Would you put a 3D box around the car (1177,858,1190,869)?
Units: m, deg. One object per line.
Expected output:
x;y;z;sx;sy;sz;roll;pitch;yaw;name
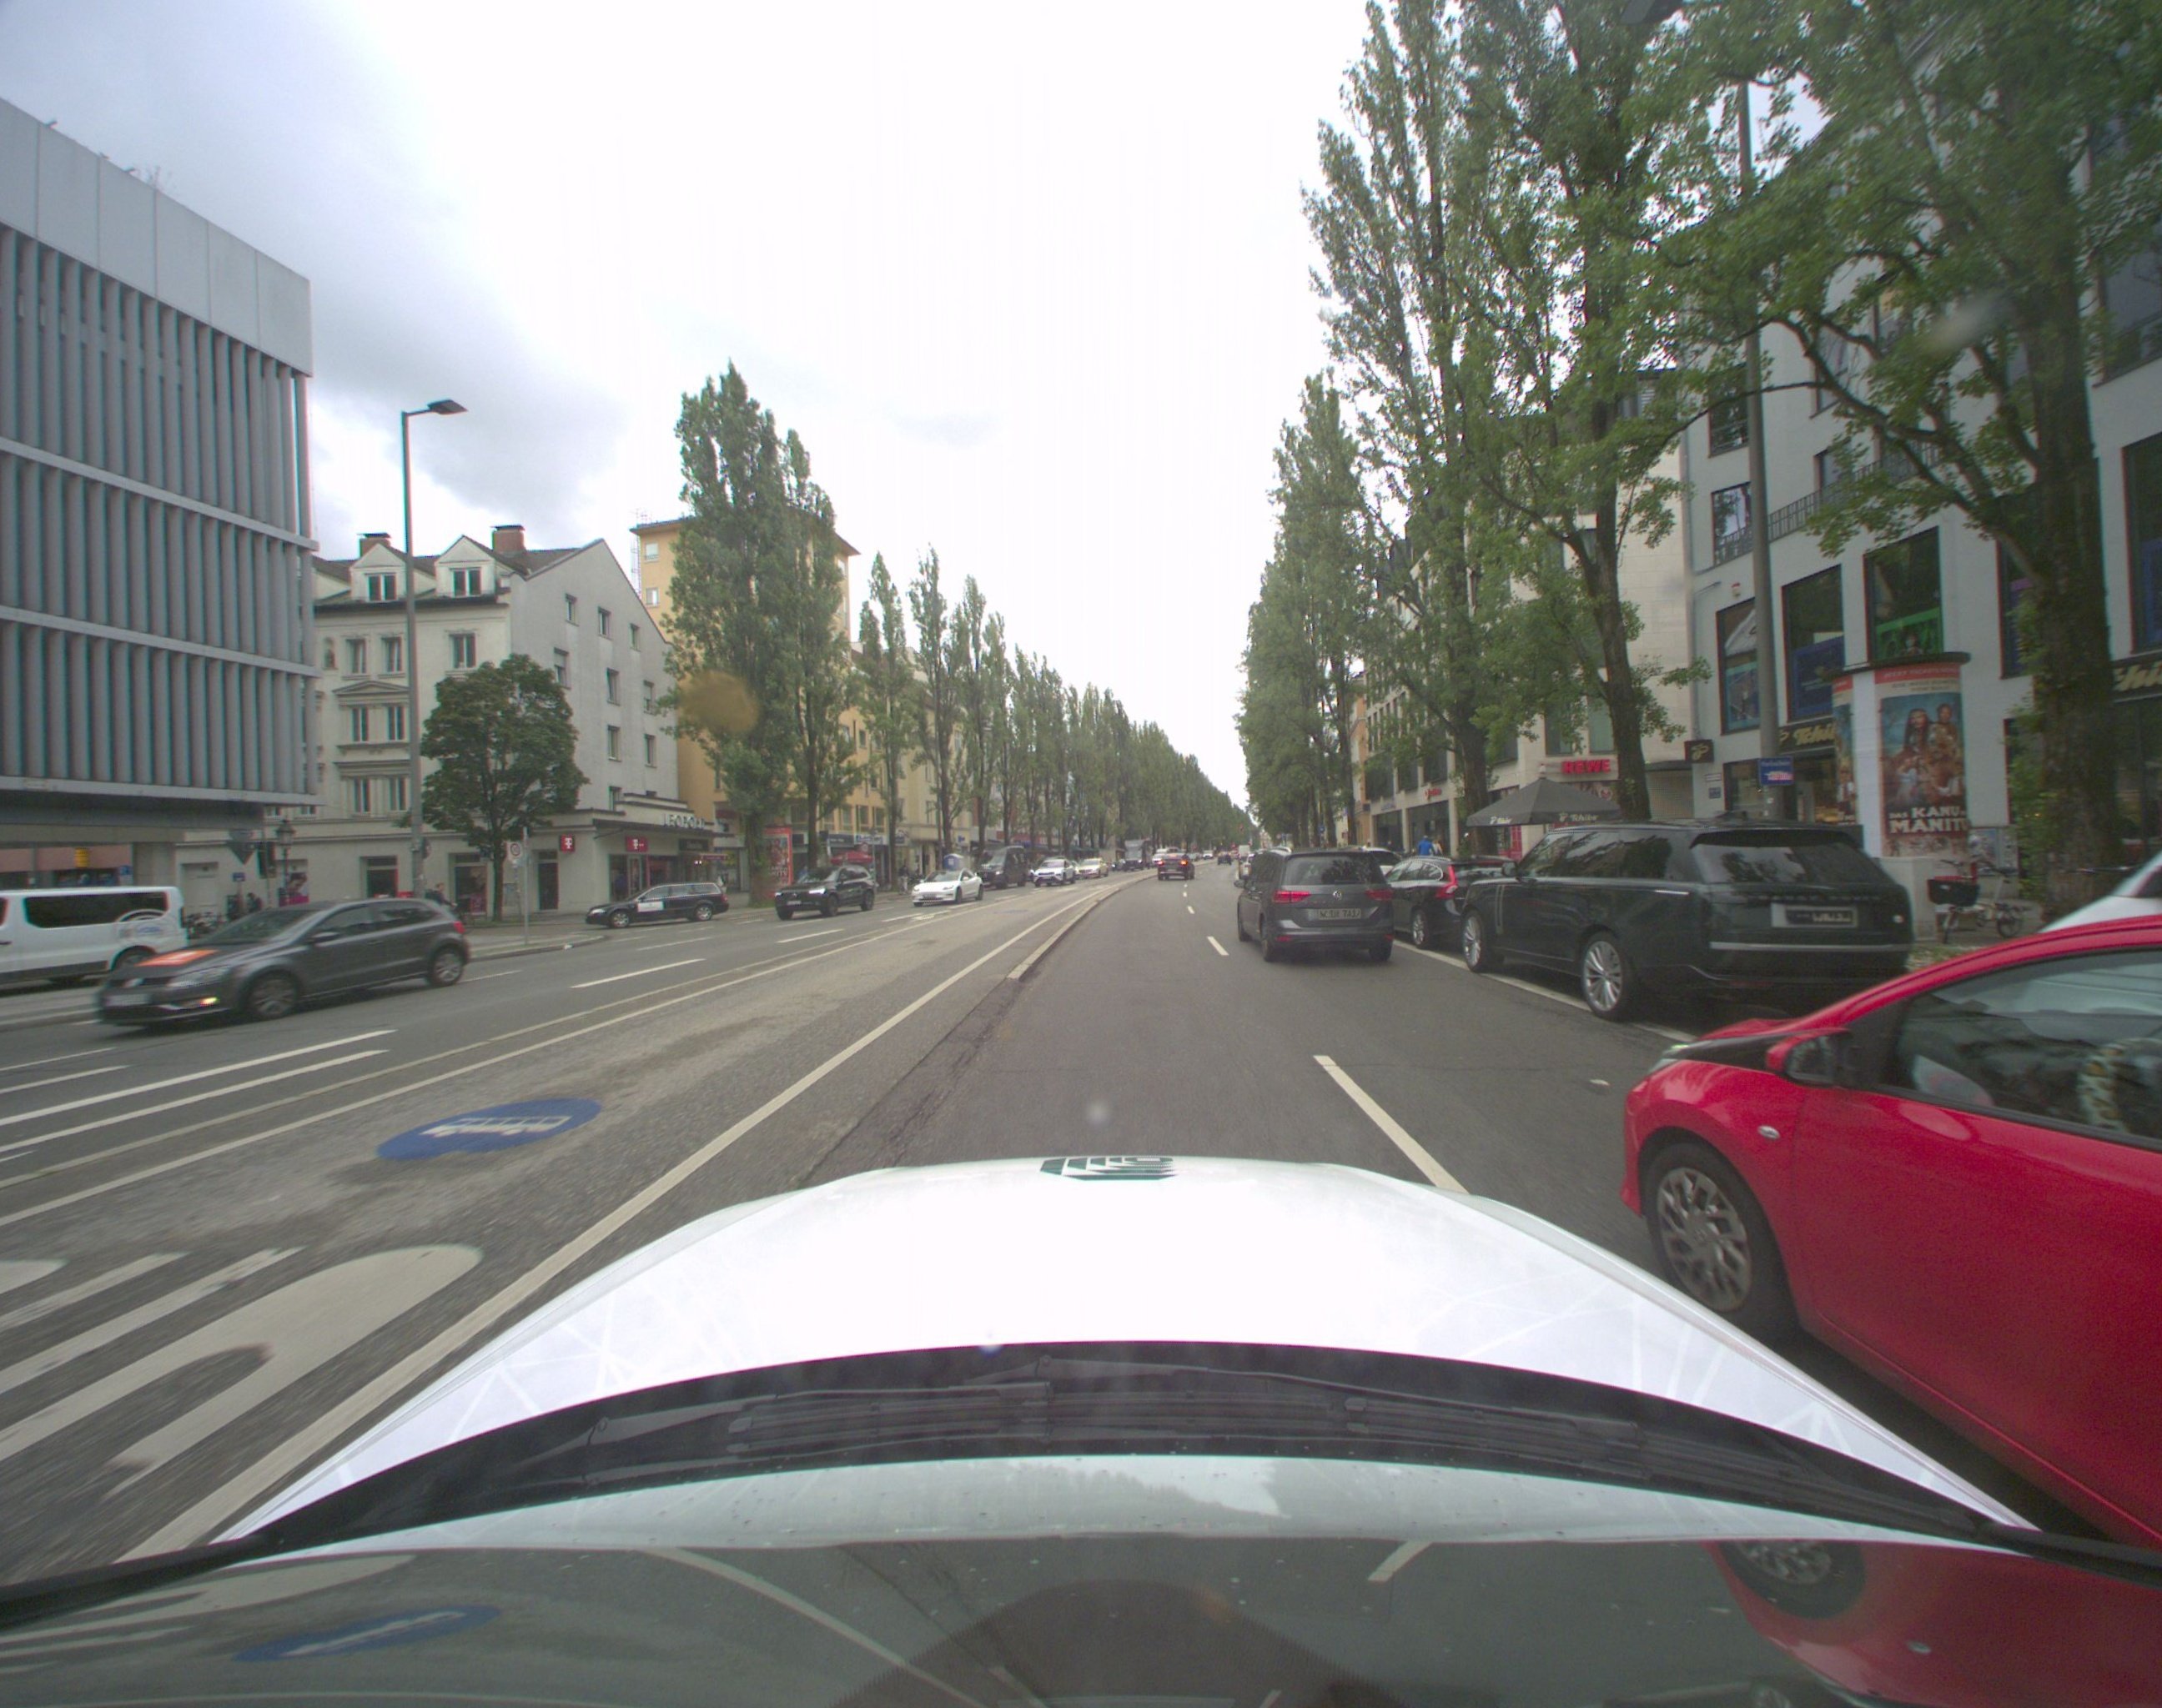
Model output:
15.885;1.458;126.047;1.655;1.596;4.014;-1;-1;13;car

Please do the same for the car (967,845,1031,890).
-5.033;0.801;51.109;2.155;2.605;6.084;-3;0;12;car

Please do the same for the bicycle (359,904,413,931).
-29.147;2.650;34.176;0.456;0.964;1.884;-3;0;6;bicycle

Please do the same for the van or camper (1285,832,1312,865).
22.088;-0.565;82.866;2.443;3.112;4.733;-3;0;14;van or camper

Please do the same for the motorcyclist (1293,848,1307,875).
11.404;0.383;42.487;0.560;1.406;0.768;-3;-1;9;motorcyclist

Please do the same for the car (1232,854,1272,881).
10.168;0.755;48.794;1.920;1.450;4.814;-3;0;7;car

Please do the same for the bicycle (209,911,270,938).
-35.619;2.960;34.491;0.456;0.964;1.884;-3;0;6;bicycle

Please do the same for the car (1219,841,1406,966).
3.425;0.664;12.882;1.755;1.614;4.183;-1;0;0;car

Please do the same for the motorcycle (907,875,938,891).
-11.032;2.008;56.805;2.054;1.036;0.485;-1;-1;-8;motorcycle

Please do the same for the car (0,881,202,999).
-20.506;1.656;15.301;1.982;2.013;5.125;-3;0;9;car

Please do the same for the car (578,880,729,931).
-15.358;1.805;29.367;4.529;1.439;1.906;-3;0;-37;car

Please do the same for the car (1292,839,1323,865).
21.562;-0.206;77.422;1.884;2.328;4.853;-3;-1;25;car

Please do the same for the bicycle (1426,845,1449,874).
15.249;0.221;34.902;0.447;1.172;1.773;-3;0;10;bicycle

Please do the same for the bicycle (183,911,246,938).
-36.527;2.971;34.365;0.456;0.964;1.884;-3;0;6;bicycle

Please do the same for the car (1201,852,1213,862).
26.289;0.607;170.098;1.987;2.014;4.000;-1;-1;1;car

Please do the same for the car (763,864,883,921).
-9.038;1.280;29.066;2.006;1.716;4.994;-3;0;9;car

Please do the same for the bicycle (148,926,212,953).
-38.069;3.606;34.456;0.456;0.964;1.884;-3;0;6;bicycle

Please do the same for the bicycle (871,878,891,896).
-12.056;1.975;49.133;0.456;0.964;1.884;-3;0;6;bicycle

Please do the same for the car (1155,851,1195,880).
5.830;0.659;50.060;1.868;1.642;4.598;-3;0;12;car

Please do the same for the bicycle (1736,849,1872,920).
12.554;0.517;14.204;1.497;1.139;0.898;-3;-1;18;bicycle

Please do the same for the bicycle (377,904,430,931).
-28.353;2.638;34.110;0.456;0.964;1.884;-3;0;6;bicycle

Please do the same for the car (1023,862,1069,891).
-2.608;1.689;62.218;1.980;1.863;5.731;-4;-1;12;car

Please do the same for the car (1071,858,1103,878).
0.589;1.227;75.305;1.980;1.651;4.652;-4;-1;13;car

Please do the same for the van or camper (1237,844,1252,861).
25.761;-0.226;128.416;2.020;2.476;4.014;-2;-2;13;van or camper

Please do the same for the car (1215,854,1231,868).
17.838;0.878;101.876;1.747;1.619;3.760;-1;-1;13;car

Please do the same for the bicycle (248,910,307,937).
-33.992;2.936;34.497;0.456;0.964;1.884;-3;0;6;bicycle

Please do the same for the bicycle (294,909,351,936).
-32.004;2.865;34.384;0.456;0.964;1.884;-3;0;6;bicycle

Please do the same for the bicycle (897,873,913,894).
-10.346;1.716;47.924;0.365;1.201;1.158;-3;0;14;bicycle

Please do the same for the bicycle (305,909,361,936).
-31.488;2.857;34.329;0.456;0.964;1.884;-3;0;6;bicycle

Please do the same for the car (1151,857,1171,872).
9.897;1.300;100.319;1.847;1.711;4.552;-4;0;13;car

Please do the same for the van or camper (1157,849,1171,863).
14.568;0.323;142.732;1.980;2.458;4.266;-2;0;13;van or camper

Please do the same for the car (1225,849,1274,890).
7.522;0.690;36.704;1.913;1.700;4.661;-1;-1;9;car

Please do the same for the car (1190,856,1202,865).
19.506;1.065;137.699;1.700;1.414;3.736;-3;0;12;car

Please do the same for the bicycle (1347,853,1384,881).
13.257;0.593;37.986;1.471;1.207;0.536;-3;-1;4;bicycle

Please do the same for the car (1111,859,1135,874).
4.691;1.357;90.616;1.927;1.434;4.552;-3;0;11;car

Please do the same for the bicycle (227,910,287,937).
-34.970;2.951;34.583;0.456;0.964;1.884;-3;0;6;bicycle

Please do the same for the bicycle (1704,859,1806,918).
13.306;0.651;16.145;0.587;1.063;1.806;-2;0;5;bicycle

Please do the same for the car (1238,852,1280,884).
9.288;0.704;42.773;1.799;1.500;4.818;-3;0;9;car
